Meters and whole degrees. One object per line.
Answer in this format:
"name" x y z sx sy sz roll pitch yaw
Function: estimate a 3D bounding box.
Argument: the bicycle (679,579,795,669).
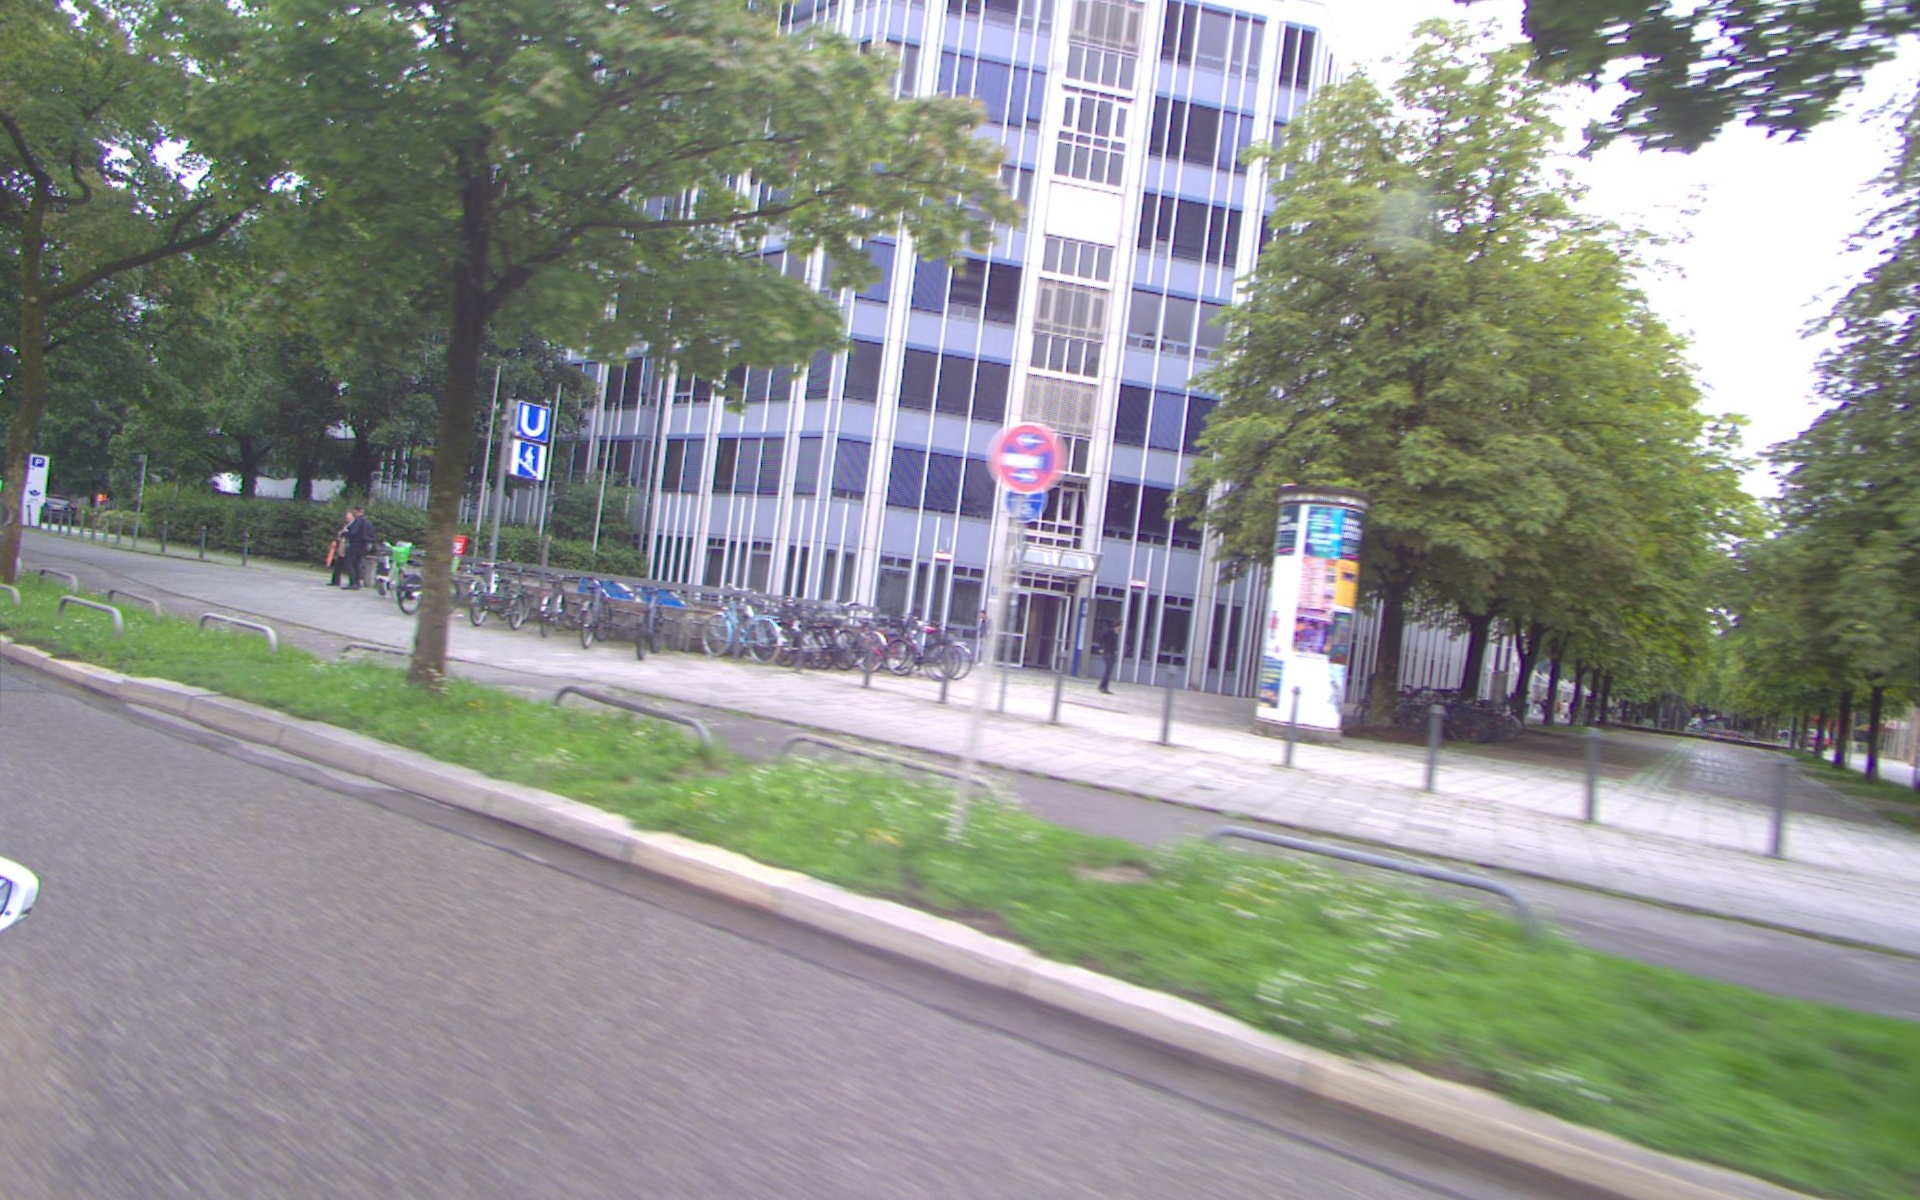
"bicycle" -3.554 0.367 15.951 1.923 1.203 0.488 7 0 34

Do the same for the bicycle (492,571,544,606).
"bicycle" -13.965 -0.373 31.756 1.745 0.864 0.559 8 1 33

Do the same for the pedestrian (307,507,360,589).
"pedestrian" -14.159 -1.175 22.730 0.779 1.735 0.742 7 0 -39

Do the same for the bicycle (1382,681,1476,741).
"bicycle" 12.453 2.932 26.750 2.137 1.276 0.553 7 0 27

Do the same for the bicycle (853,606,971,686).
"bicycle" -0.914 0.843 18.737 2.104 1.203 0.512 7 0 27

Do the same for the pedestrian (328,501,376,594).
"pedestrian" -13.308 -1.155 22.007 0.648 1.923 0.741 6 1 -39

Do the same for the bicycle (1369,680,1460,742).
"bicycle" 11.602 2.813 25.717 1.987 1.276 0.509 7 0 27

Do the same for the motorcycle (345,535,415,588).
"motorcycle" -17.184 -1.147 29.785 2.036 1.334 0.550 7 0 23

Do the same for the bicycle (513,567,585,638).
"bicycle" -7.007 0.016 17.234 0.570 1.080 1.950 5 2 -7

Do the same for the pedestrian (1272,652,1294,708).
"pedestrian" 9.623 2.382 29.956 0.307 1.591 0.350 6 1 -39

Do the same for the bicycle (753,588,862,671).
"bicycle" -2.662 0.494 17.405 1.923 1.203 0.488 7 0 34

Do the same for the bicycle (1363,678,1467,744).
"bicycle" 11.024 2.669 24.410 2.137 1.276 0.509 7 0 27

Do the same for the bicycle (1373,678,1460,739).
"bicycle" 11.948 2.824 26.351 1.920 1.276 0.509 7 0 27

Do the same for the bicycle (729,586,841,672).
"bicycle" -2.956 0.471 16.872 1.923 1.203 0.488 7 0 34

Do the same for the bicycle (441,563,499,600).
"bicycle" -14.912 -0.571 30.630 1.804 0.864 0.683 8 1 33

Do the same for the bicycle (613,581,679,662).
"bicycle" -4.844 0.291 15.620 0.570 1.114 2.028 5 1 -8

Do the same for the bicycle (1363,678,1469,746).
"bicycle" 10.805 2.634 23.871 2.137 1.276 0.509 7 0 27

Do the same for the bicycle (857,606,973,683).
"bicycle" -0.881 0.856 19.496 2.104 1.203 0.578 7 0 27

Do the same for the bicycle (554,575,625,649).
"bicycle" -6.060 0.164 16.558 0.594 1.103 2.037 4 1 -7

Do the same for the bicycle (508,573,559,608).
"bicycle" -13.709 -0.305 32.336 1.745 0.864 0.559 8 1 33

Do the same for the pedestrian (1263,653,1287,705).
"pedestrian" 9.531 2.384 30.428 0.389 1.510 0.383 7 1 45

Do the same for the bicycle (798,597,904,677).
"bicycle" -1.963 0.646 17.954 1.923 1.203 0.446 7 0 34

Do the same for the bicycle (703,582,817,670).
"bicycle" -3.282 0.412 16.393 1.923 1.203 0.488 7 0 34

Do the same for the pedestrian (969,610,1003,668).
"pedestrian" 0.820 1.223 31.726 0.645 1.699 0.695 7 0 -27

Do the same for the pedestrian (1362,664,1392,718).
"pedestrian" 13.569 2.952 32.746 0.615 1.678 0.590 7 0 34

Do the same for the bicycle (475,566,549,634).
"bicycle" -8.053 -0.030 18.167 0.587 1.097 1.950 7 2 -7

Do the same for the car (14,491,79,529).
"car" -53.695 -5.301 59.118 4.402 1.840 1.842 7 0 36

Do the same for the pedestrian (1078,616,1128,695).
"pedestrian" 3.497 1.350 24.567 0.684 1.794 0.760 6 1 -42

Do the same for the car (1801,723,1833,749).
"car" 83.611 13.261 98.131 1.974 2.036 3.982 6 -4 44

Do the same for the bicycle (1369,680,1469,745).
"bicycle" 11.452 2.795 25.144 2.137 1.276 0.509 7 0 27

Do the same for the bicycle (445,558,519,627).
"bicycle" -8.854 -0.171 18.703 0.570 1.123 1.949 7 3 -7

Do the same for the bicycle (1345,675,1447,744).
"bicycle" 10.168 2.534 23.497 2.020 1.276 0.607 7 0 29

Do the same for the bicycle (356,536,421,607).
"bicycle" -11.725 -0.603 20.606 1.835 1.243 0.529 9 4 42

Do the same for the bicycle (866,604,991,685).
"bicycle" -0.648 0.884 20.243 2.435 1.310 0.509 7 0 27

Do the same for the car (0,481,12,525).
"car" -55.238 -5.672 56.078 6.171 2.335 2.265 7 0 36

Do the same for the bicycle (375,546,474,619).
"bicycle" -9.775 -0.319 18.451 0.586 1.205 1.953 7 2 3

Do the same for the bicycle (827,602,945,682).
"bicycle" -1.375 0.759 18.375 2.104 1.203 0.446 7 0 27
